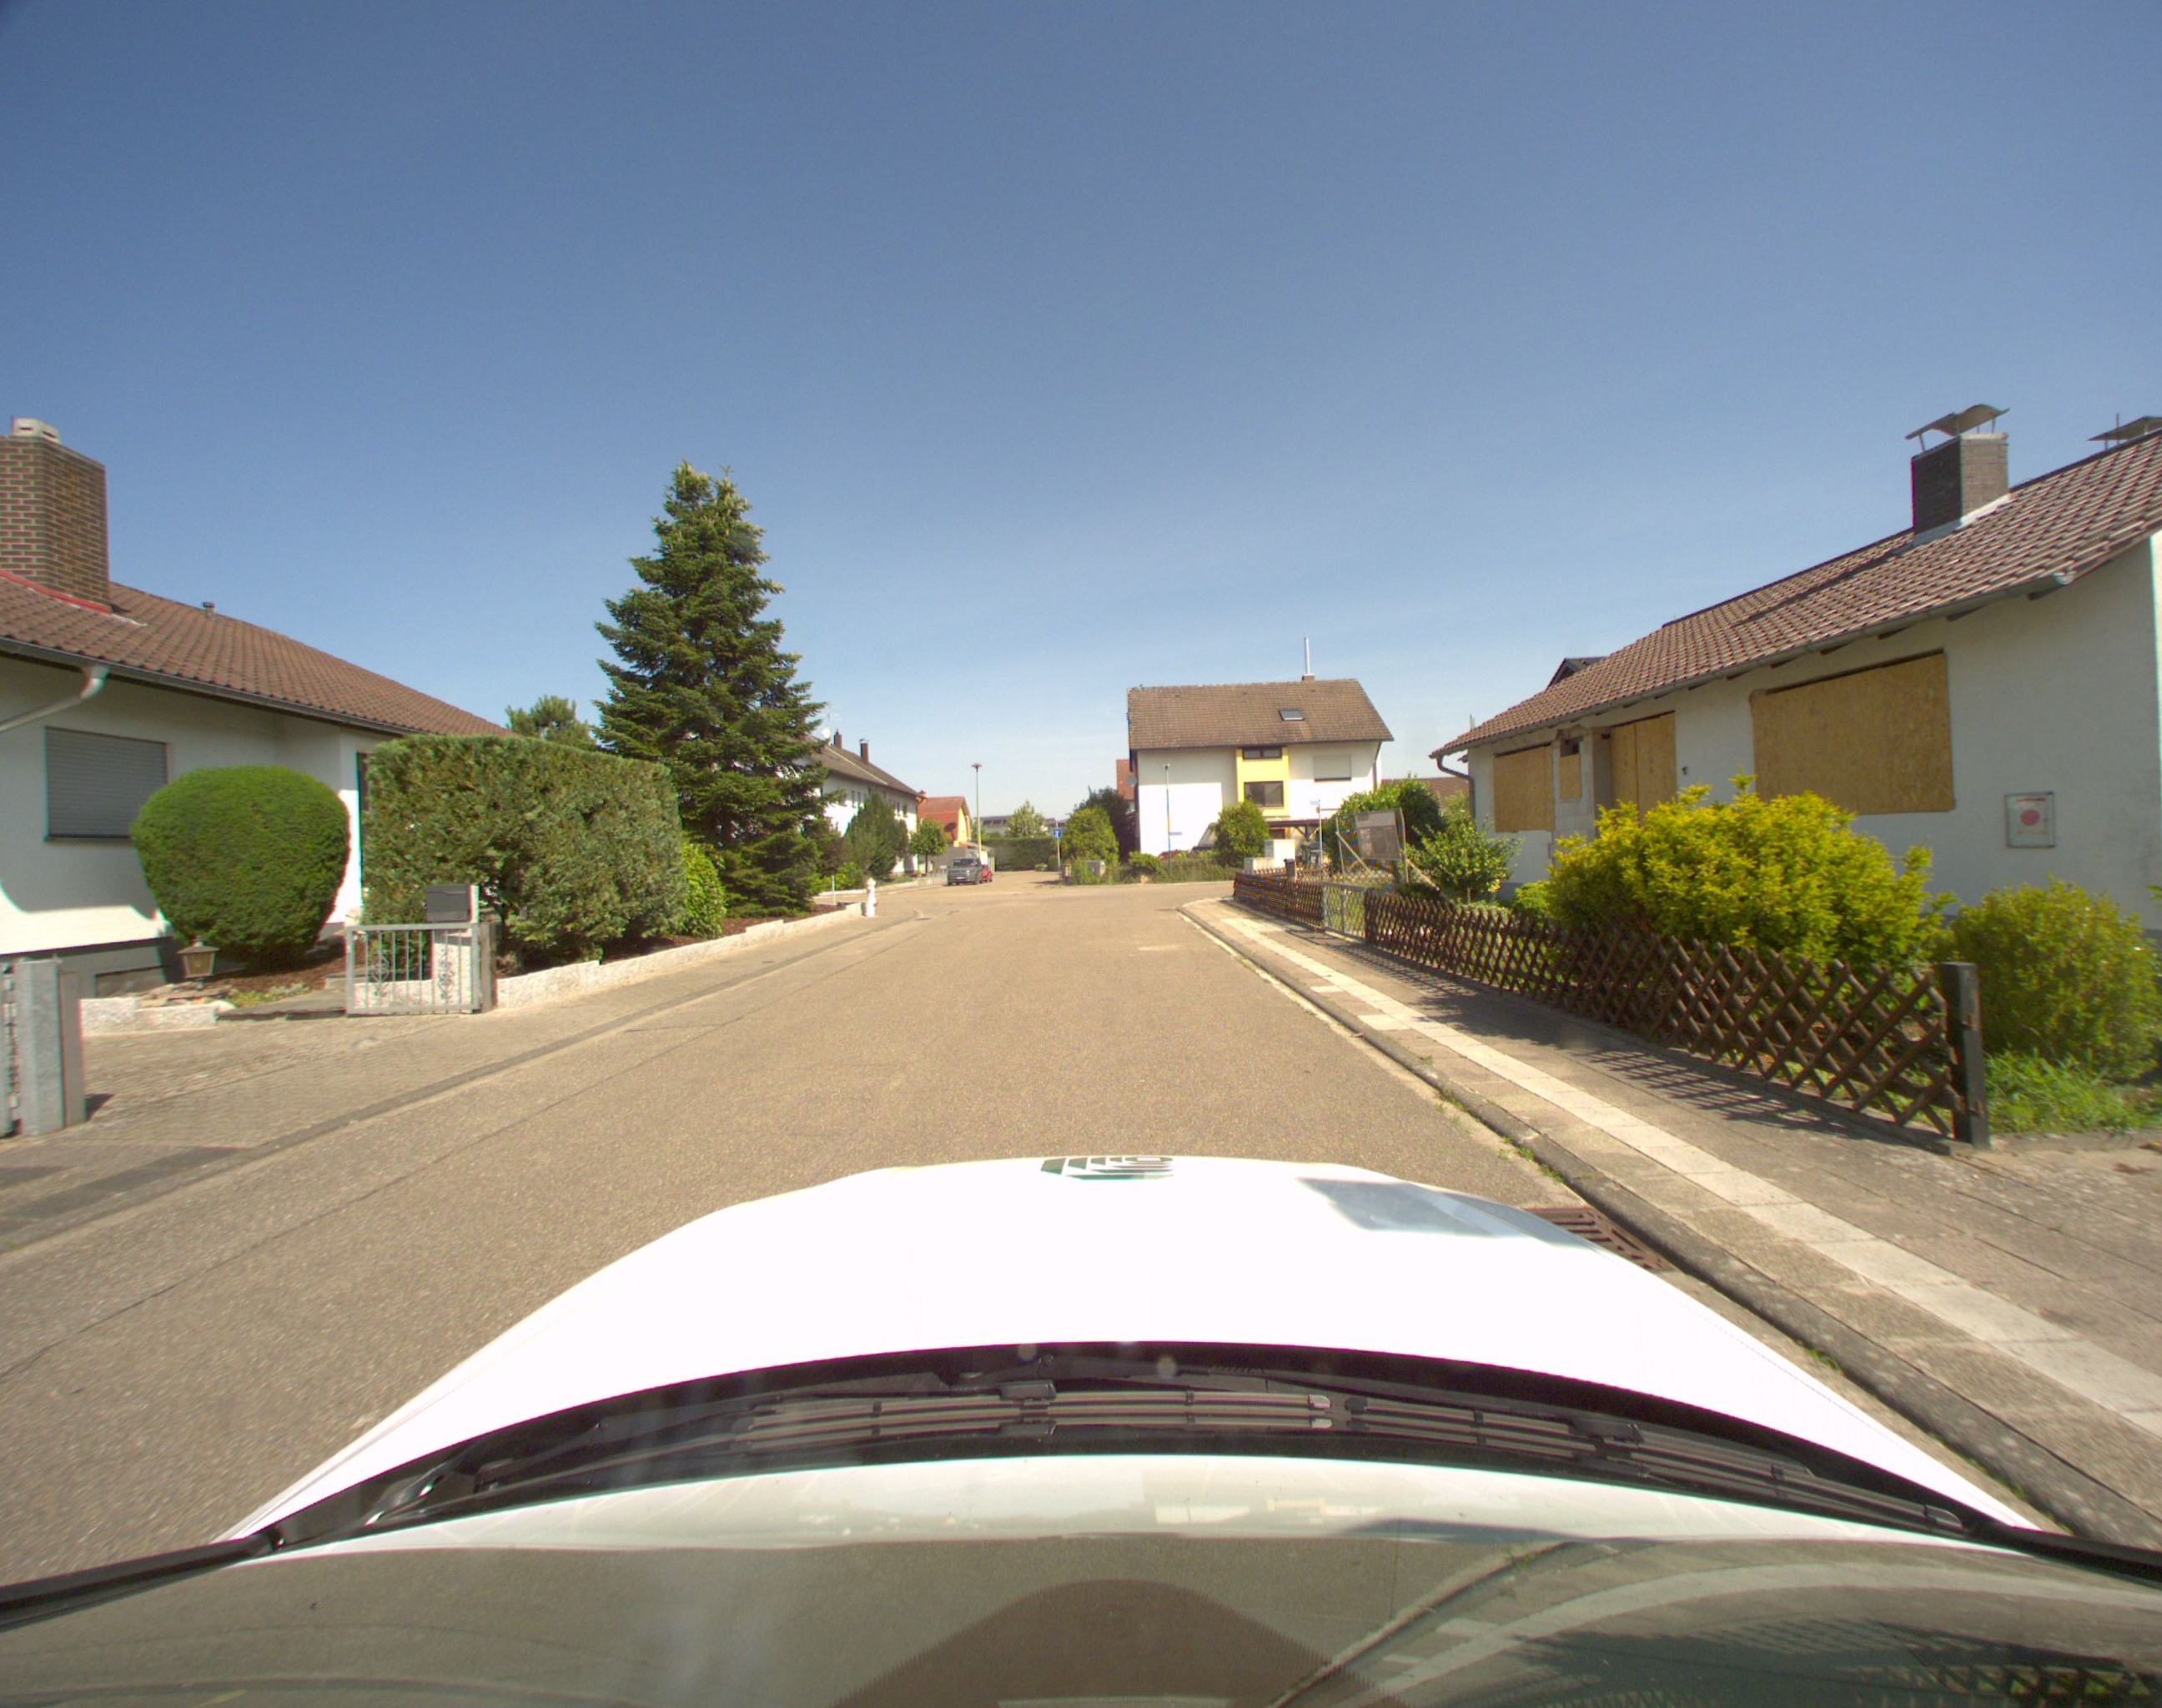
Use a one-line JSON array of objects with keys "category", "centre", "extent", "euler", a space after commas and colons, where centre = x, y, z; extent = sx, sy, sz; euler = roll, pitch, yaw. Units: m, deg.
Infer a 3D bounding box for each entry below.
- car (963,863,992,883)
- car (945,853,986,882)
[{"category": "car", "centre": [-7.828, 1.405, 61.944], "extent": [1.646, 1.365, 3.778], "euler": [-2, 0, 0]}, {"category": "car", "centre": [-7.843, 0.875, 55.507], "extent": [1.893, 1.870, 4.374], "euler": [-2, 0, 3]}]
